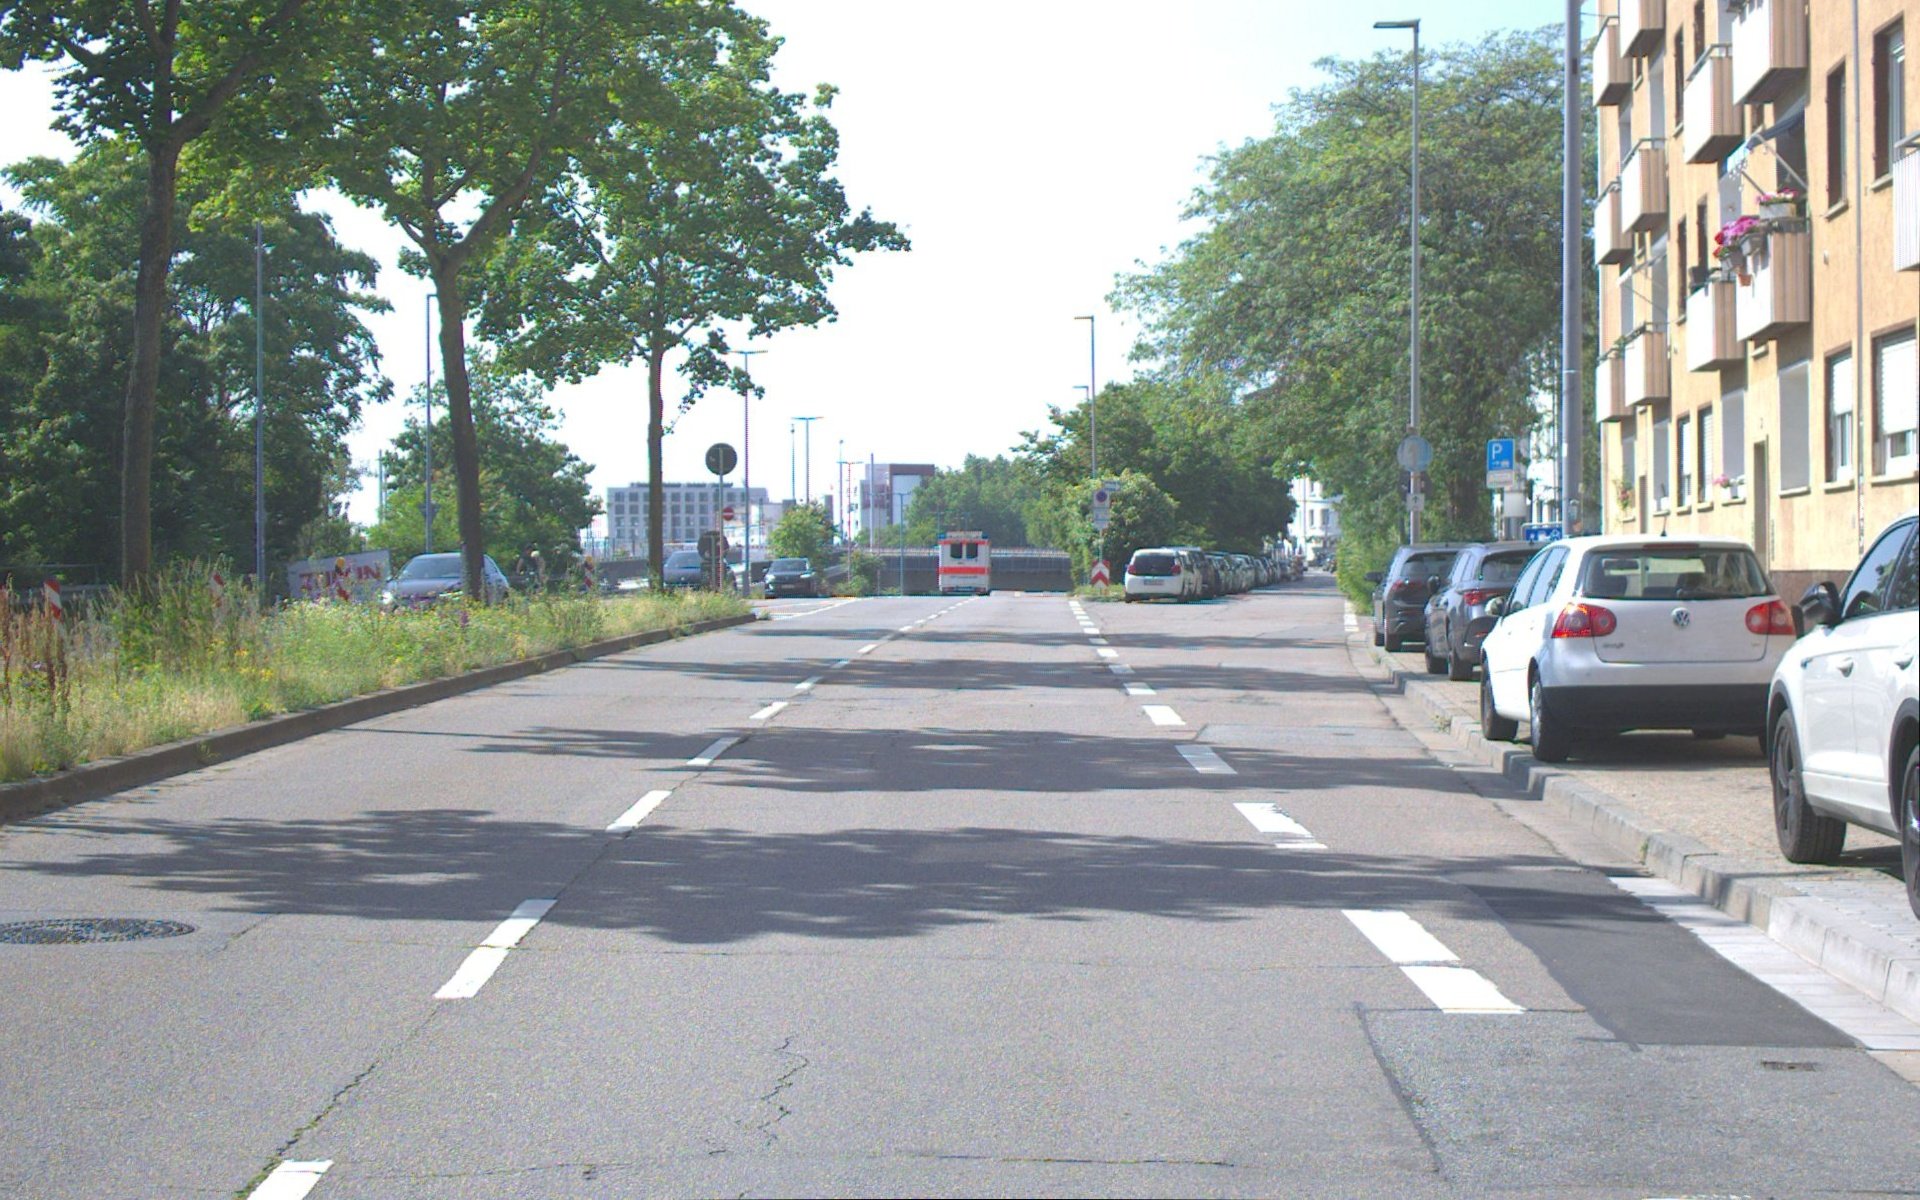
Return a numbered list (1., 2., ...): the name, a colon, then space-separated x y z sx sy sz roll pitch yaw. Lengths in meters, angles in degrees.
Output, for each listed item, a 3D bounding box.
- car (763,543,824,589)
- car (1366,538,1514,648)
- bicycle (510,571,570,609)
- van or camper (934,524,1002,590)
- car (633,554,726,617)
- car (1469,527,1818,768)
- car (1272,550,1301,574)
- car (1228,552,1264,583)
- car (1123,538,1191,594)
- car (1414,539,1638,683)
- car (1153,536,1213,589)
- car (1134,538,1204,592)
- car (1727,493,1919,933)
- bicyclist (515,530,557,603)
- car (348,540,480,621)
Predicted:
1. car: -6.396 -1.325 132.464 1.993 1.728 4.730 0 1 2
2. car: 6.680 -0.130 48.152 1.711 1.457 4.255 -1 1 4
3. bicycle: -10.705 -0.259 87.641 0.693 0.902 2.341 -1 1 15
4. van or camper: 0.377 -1.837 146.731 2.297 2.780 5.570 0 1 6
5. car: -7.038 -0.383 86.589 1.763 1.469 4.084 -2 1 3
6. car: 4.644 0.258 23.890 1.756 1.500 4.127 -1 1 3
7. car: 22.951 -2.647 241.669 1.994 1.651 3.999 0 1 6
8. car: 14.922 -1.693 179.162 1.664 1.504 4.007 2 1 7
9. car: 5.445 -0.948 94.903 1.620 1.500 3.460 -1 1 7
10. car: 6.020 0.071 37.024 1.800 1.433 4.590 -1 1 2
11. car: 6.818 -1.160 104.975 1.772 1.574 4.186 -1 1 4
12. car: 6.069 -1.028 99.520 1.721 1.500 4.131 -1 1 7
13. car: 4.277 0.355 13.461 1.736 1.536 4.353 -1 1 3
14. bicyclist: -10.783 -0.862 87.478 0.697 1.825 1.016 -1 1 15
15. car: -10.496 -0.394 66.349 1.798 1.525 4.000 0 1 2
